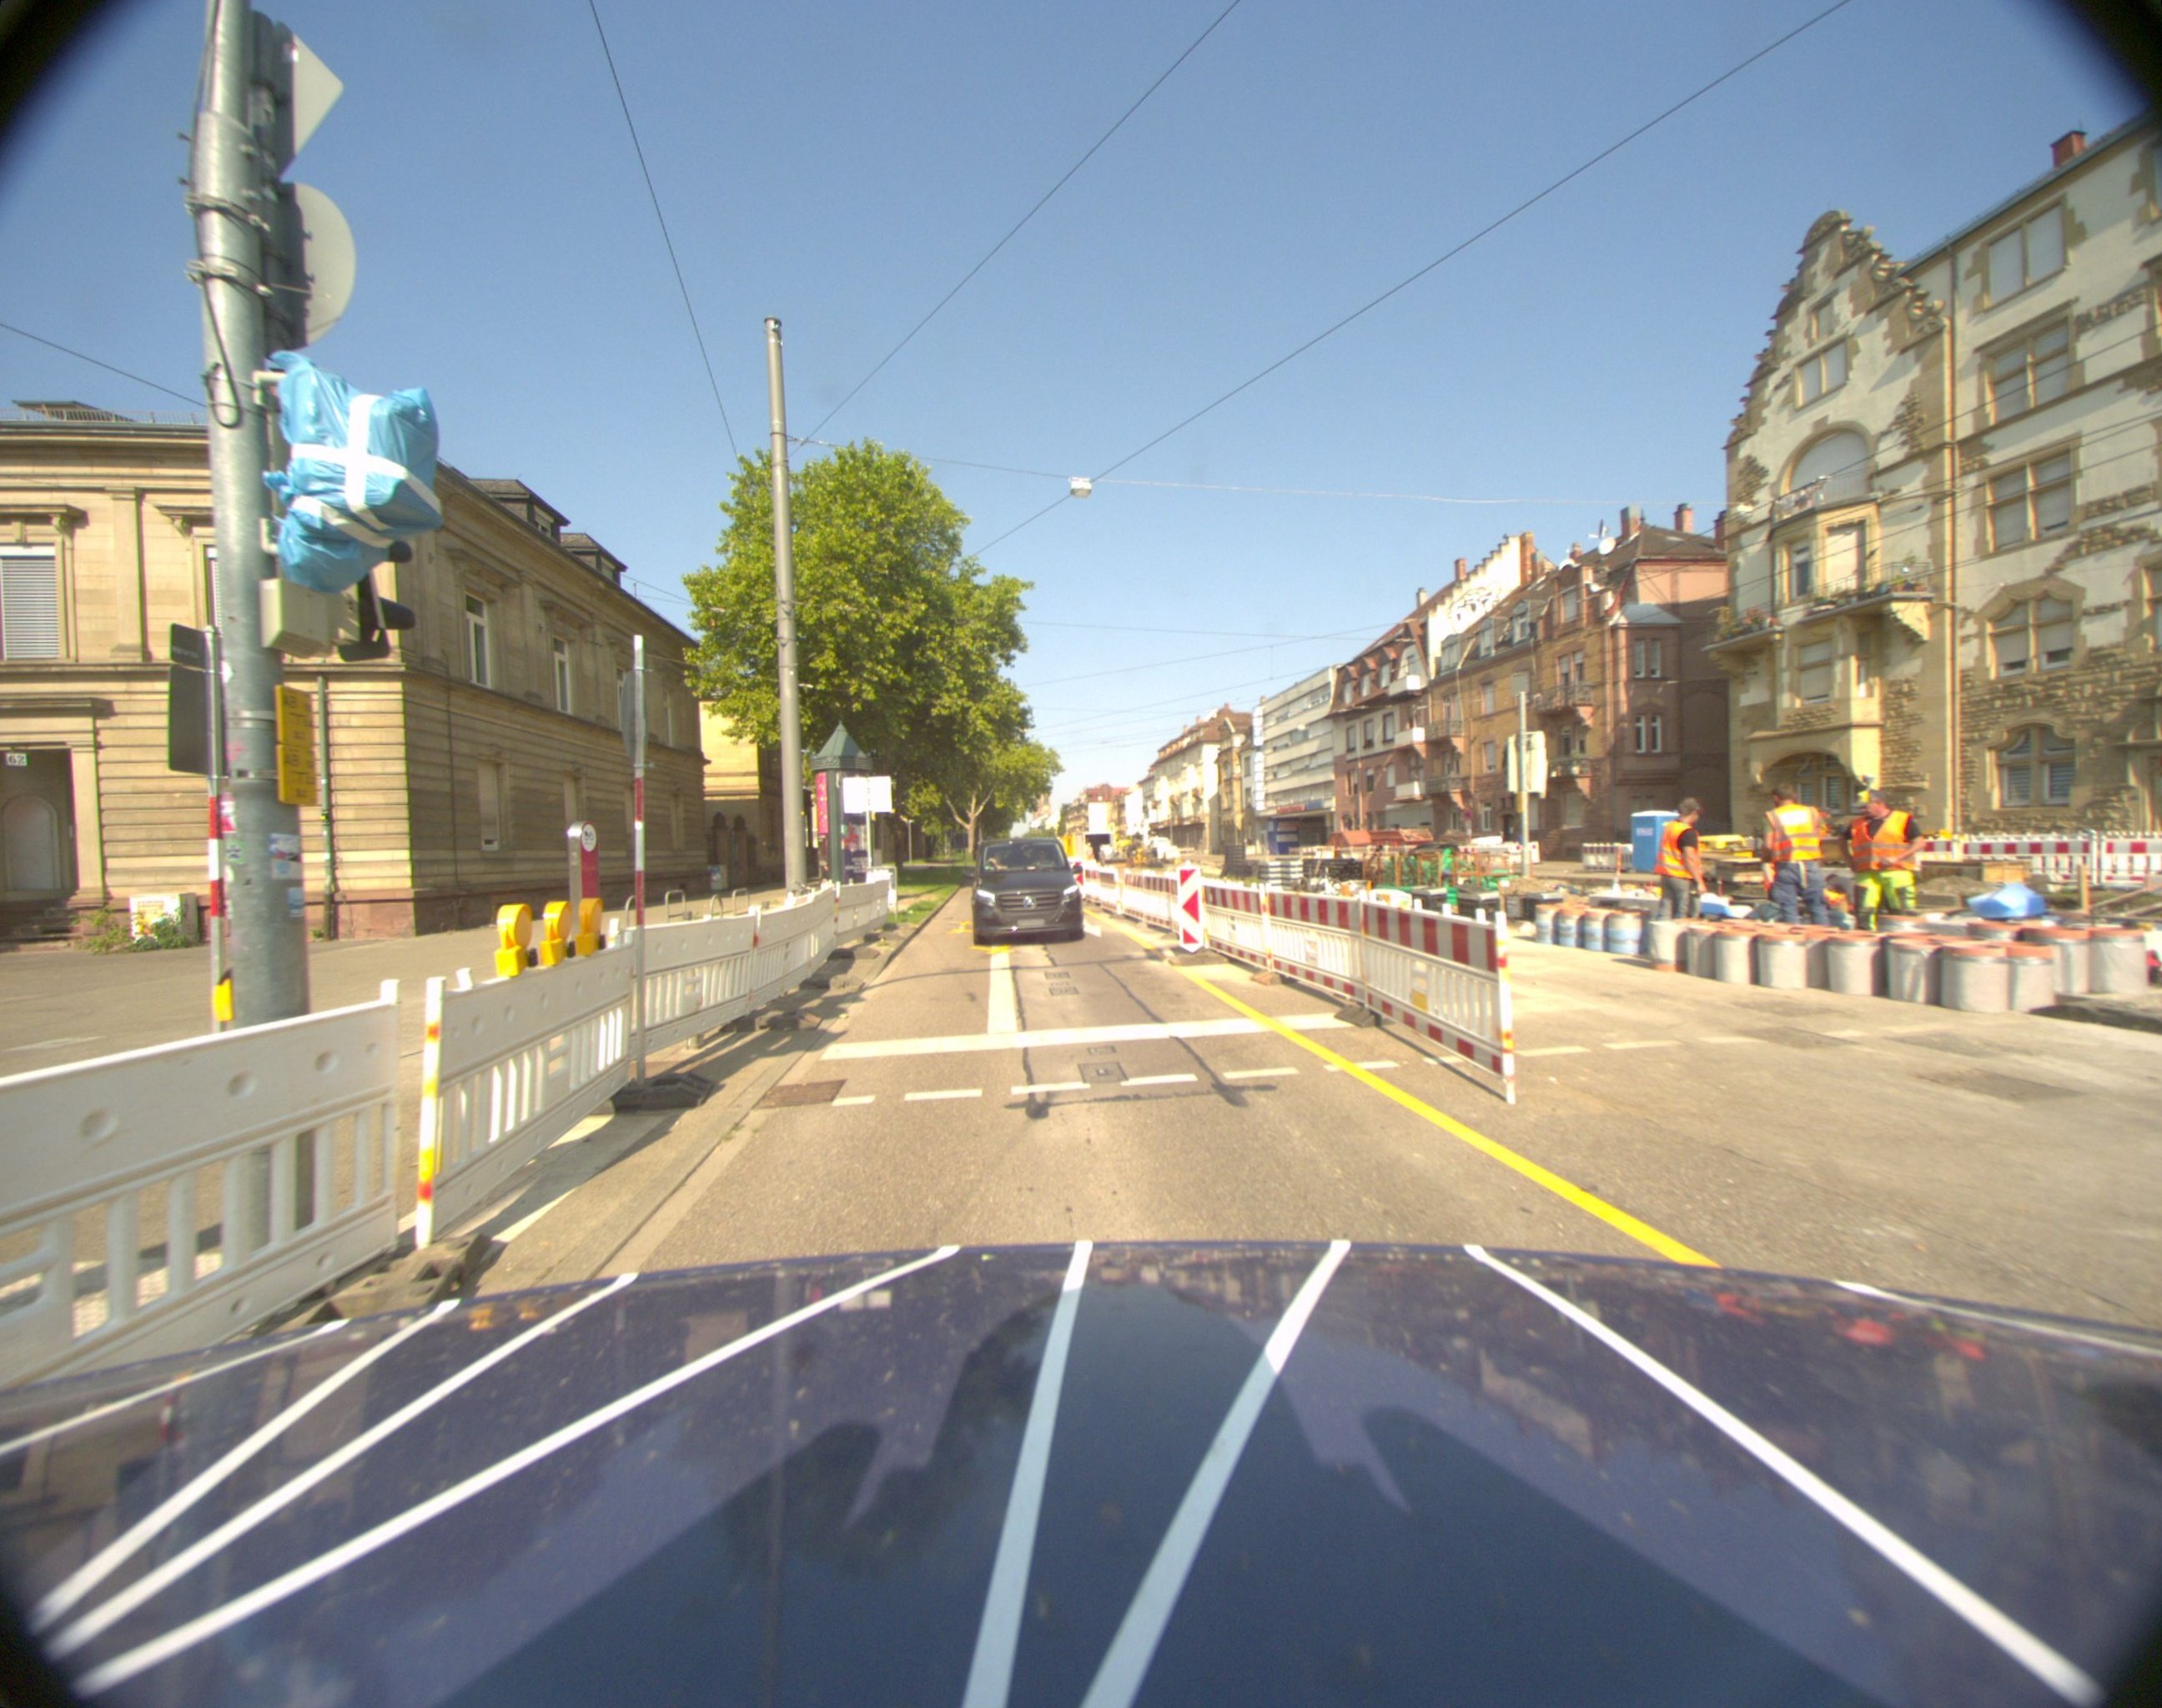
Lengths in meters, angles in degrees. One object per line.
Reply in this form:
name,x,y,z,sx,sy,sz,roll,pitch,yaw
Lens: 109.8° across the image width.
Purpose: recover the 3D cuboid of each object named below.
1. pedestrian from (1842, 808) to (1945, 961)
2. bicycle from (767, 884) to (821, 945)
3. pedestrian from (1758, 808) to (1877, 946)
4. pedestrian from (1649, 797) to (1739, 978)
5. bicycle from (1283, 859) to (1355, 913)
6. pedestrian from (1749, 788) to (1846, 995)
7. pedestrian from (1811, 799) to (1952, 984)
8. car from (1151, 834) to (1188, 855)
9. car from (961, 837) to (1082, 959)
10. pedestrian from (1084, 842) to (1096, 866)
pedestrian,10.045,0.349,9.427,0.752,1.799,0.832,0,2,39
bicycle,-5.399,1.112,14.372,0.540,1.001,1.570,-1,1,-6
pedestrian,10.043,0.297,10.406,0.828,1.806,0.885,-1,2,15
pedestrian,6.867,0.348,8.512,0.715,1.915,0.683,-3,2,-43
bicycle,5.428,0.707,17.442,0.564,1.092,1.964,-4,2,-16
pedestrian,7.380,0.359,7.830,0.698,2.004,0.672,-3,2,-43
pedestrian,8.388,0.376,7.997,0.721,1.860,0.708,-1,2,2
car,9.405,-1.065,81.624,2.368,2.123,7.116,-2,1,-6
car,-1.161,0.665,14.364,1.854,1.875,4.175,-3,1,-6
pedestrian,0.679,0.014,56.323,0.803,1.787,0.596,0,2,13
